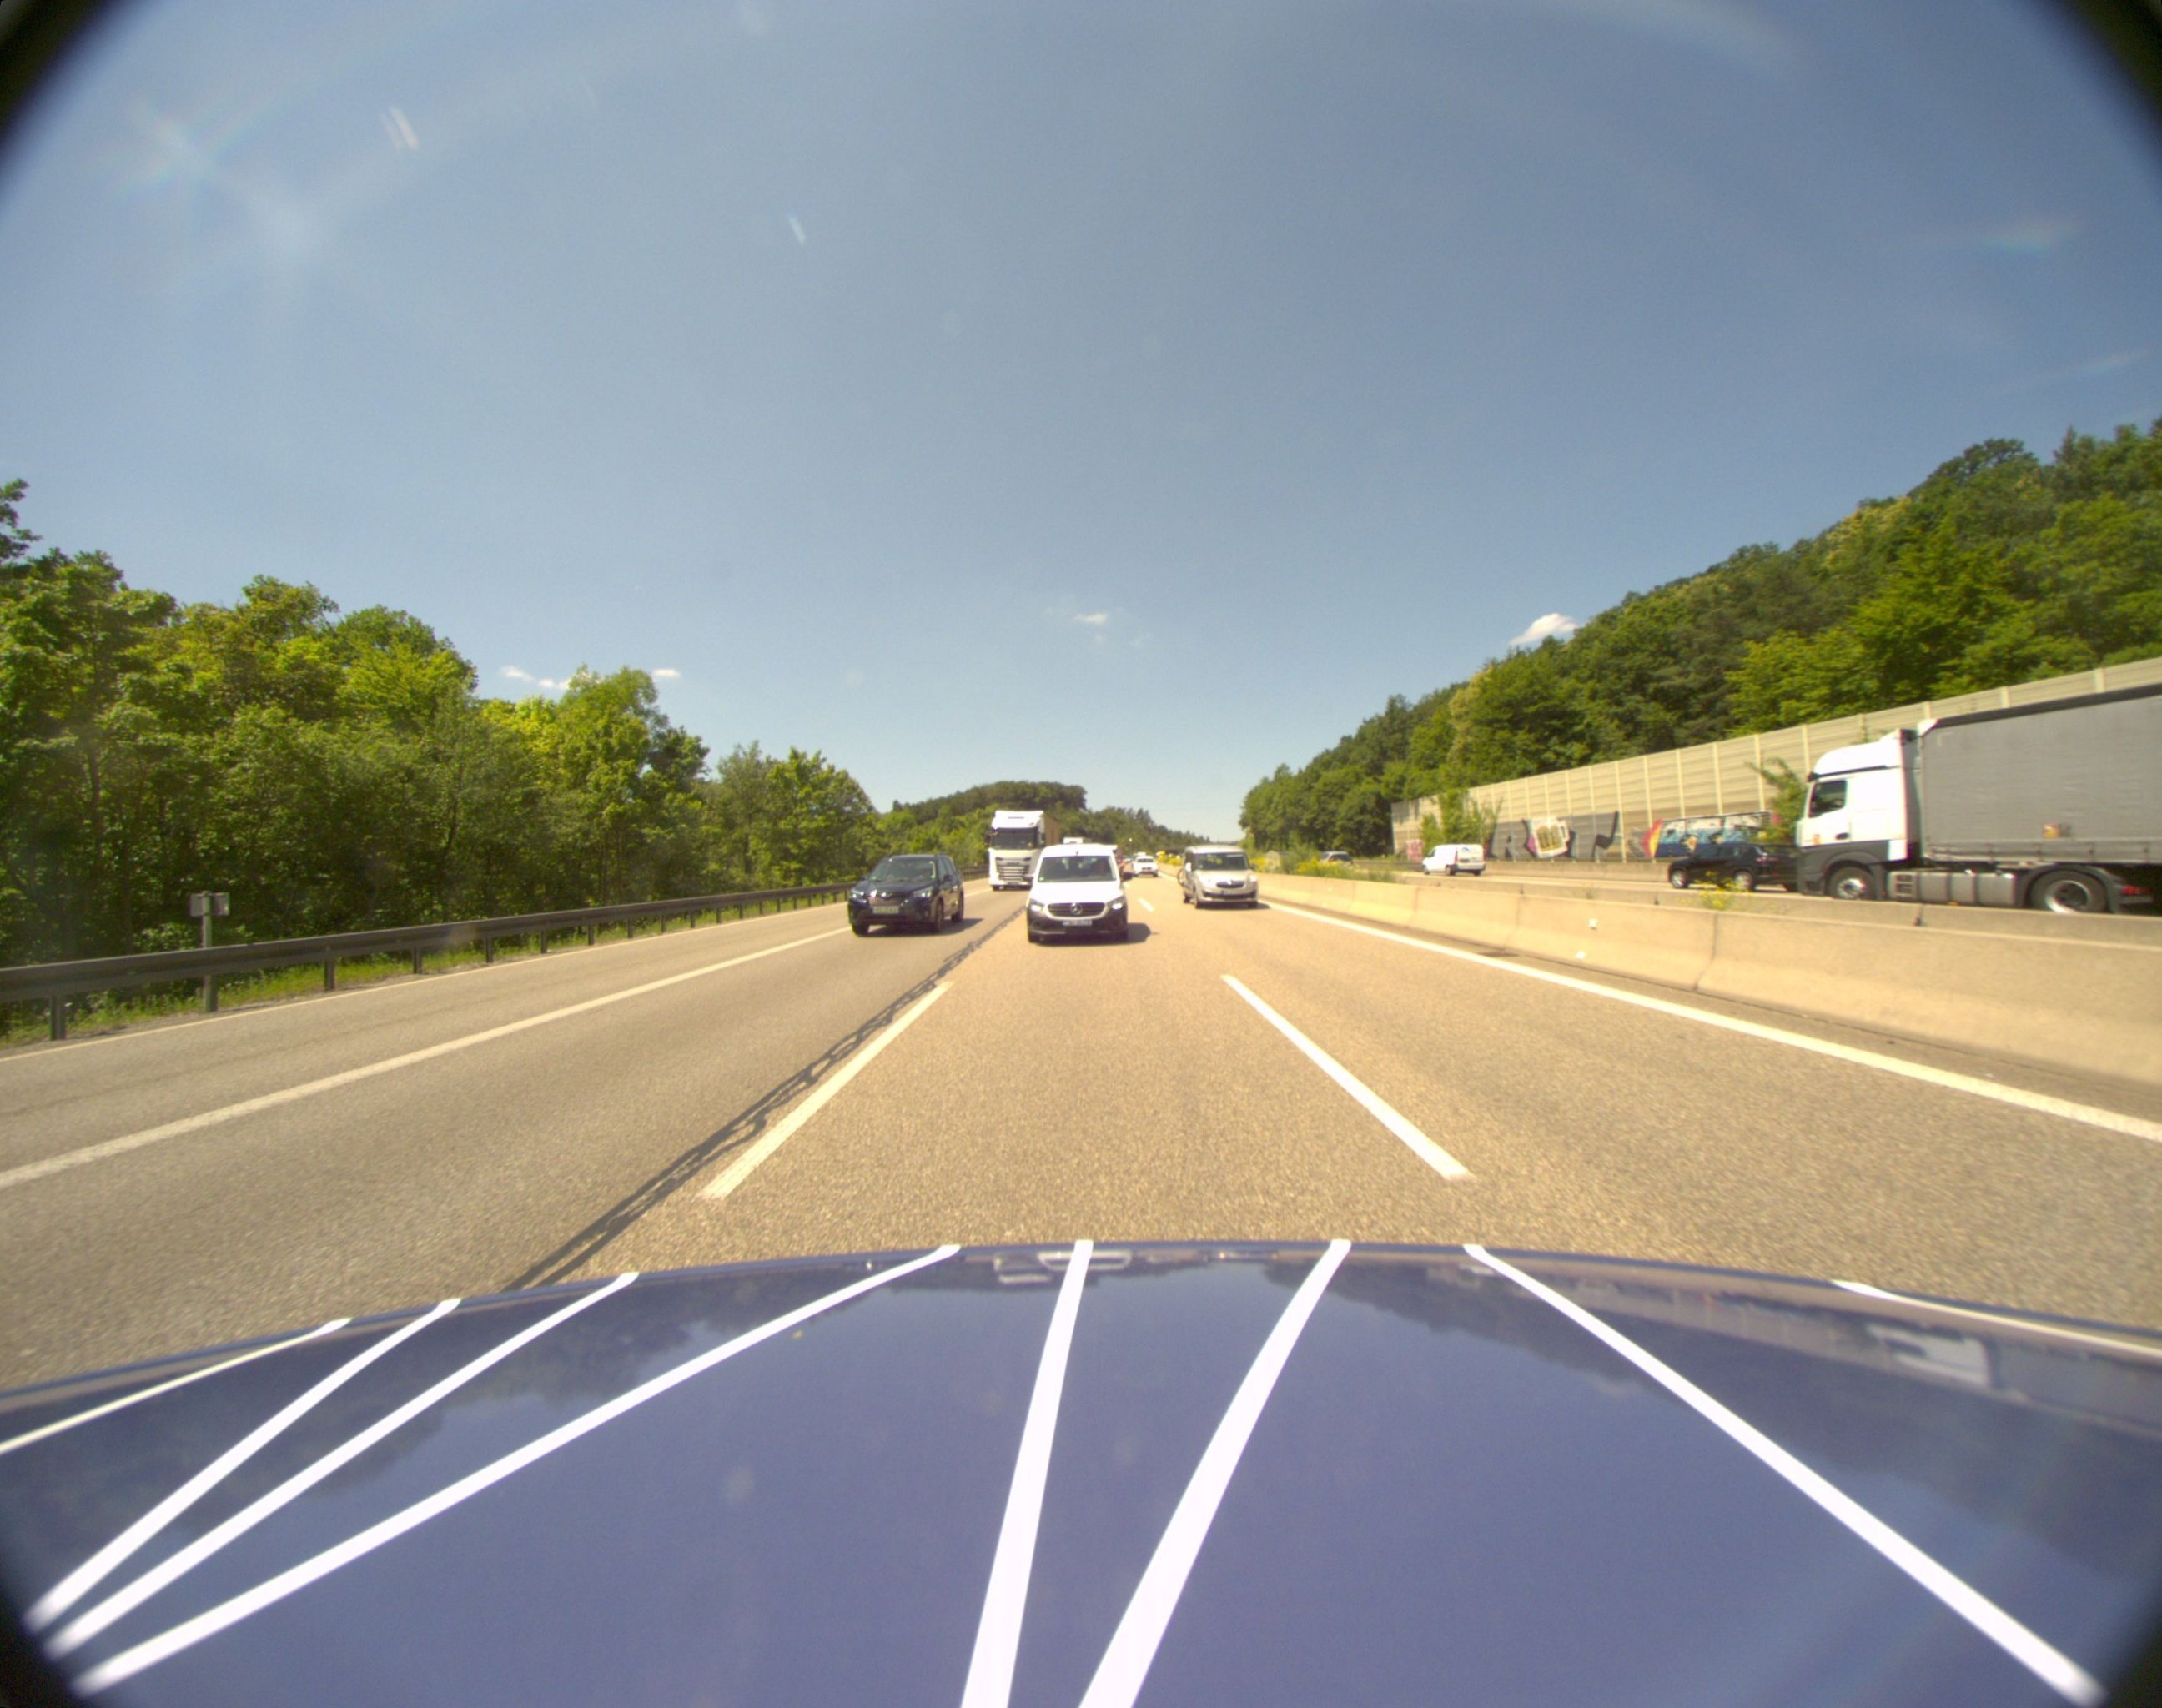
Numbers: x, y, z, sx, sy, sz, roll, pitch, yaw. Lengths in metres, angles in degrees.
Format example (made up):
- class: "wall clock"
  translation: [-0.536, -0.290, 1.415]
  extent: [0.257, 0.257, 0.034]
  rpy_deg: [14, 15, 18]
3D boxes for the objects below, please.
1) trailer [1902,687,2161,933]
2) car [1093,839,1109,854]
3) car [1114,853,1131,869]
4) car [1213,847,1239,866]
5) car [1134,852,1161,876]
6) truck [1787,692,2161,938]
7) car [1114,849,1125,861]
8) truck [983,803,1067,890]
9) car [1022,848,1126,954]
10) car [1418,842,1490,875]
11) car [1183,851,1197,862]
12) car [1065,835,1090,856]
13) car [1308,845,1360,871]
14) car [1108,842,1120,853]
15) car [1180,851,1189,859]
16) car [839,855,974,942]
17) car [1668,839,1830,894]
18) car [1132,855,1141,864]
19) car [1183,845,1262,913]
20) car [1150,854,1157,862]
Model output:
- class: "trailer"
  translation: [18.476, -0.686, 8.849]
  extent: [2.820, 3.885, 13.824]
  rpy_deg: [-1, 1, 0]
- class: "car"
  translation: [3.468, -1.280, 130.851]
  extent: [2.721, 2.534, 5.941]
  rpy_deg: [-1, 1, 3]
- class: "car"
  translation: [5.256, 0.884, 96.562]
  extent: [1.998, 2.002, 4.000]
  rpy_deg: [-1, 0, 1]
- class: "car"
  translation: [13.517, 0.194, 71.015]
  extent: [1.688, 1.688, 4.659]
  rpy_deg: [-1, 0, 1]
- class: "car"
  translation: [5.325, 0.774, 61.009]
  extent: [1.998, 1.827, 4.001]
  rpy_deg: [-1, 0, 3]
- class: "truck"
  translation: [18.432, -0.661, 14.651]
  extent: [2.820, 3.885, 7.314]
  rpy_deg: [-1, 1, -1]
- class: "car"
  translation: [6.908, 0.188, 136.571]
  extent: [1.902, 2.002, 4.000]
  rpy_deg: [-1, 0, 1]
- class: "truck"
  translation: [-2.866, -0.392, 44.924]
  extent: [2.789, 4.144, 16.270]
  rpy_deg: [-2, 0, 3]
- class: "car"
  translation: [0.003, 0.793, 15.028]
  extent: [1.729, 1.760, 4.313]
  rpy_deg: [-1, 1, 3]
- class: "car"
  translation: [23.013, 0.243, 47.170]
  extent: [1.926, 1.856, 5.303]
  rpy_deg: [-1, 1, 1]
- class: "car"
  translation: [17.680, 0.394, 123.244]
  extent: [1.751, 1.568, 4.714]
  rpy_deg: [-1, 0, 3]
- class: "car"
  translation: [-0.389, -1.046, 94.149]
  extent: [2.721, 2.534, 5.941]
  rpy_deg: [-1, 1, 3]
- class: "car"
  translation: [16.177, 0.253, 48.835]
  extent: [1.814, 1.566, 4.603]
  rpy_deg: [-1, 0, 1]
- class: "car"
  translation: [7.857, -1.596, 178.973]
  extent: [2.721, 2.534, 5.941]
  rpy_deg: [-1, 1, 3]
- class: "car"
  translation: [22.762, 0.192, 167.709]
  extent: [1.646, 1.641, 3.713]
  rpy_deg: [-1, 0, 3]
- class: "car"
  translation: [-3.747, 0.881, 17.146]
  extent: [1.816, 1.658, 4.204]
  rpy_deg: [-1, 1, 3]
- class: "car"
  translation: [22.002, 0.385, 25.269]
  extent: [1.814, 1.631, 4.098]
  rpy_deg: [-1, 0, 1]
- class: "car"
  translation: [12.579, 1.198, 173.058]
  extent: [1.998, 2.002, 4.001]
  rpy_deg: [-1, 0, 2]
- class: "car"
  translation: [4.110, 0.686, 22.649]
  extent: [1.780, 1.833, 4.001]
  rpy_deg: [-1, 0, 3]
- class: "car"
  translation: [18.820, 0.956, 197.453]
  extent: [1.678, 2.002, 3.906]
  rpy_deg: [-1, 0, 1]
